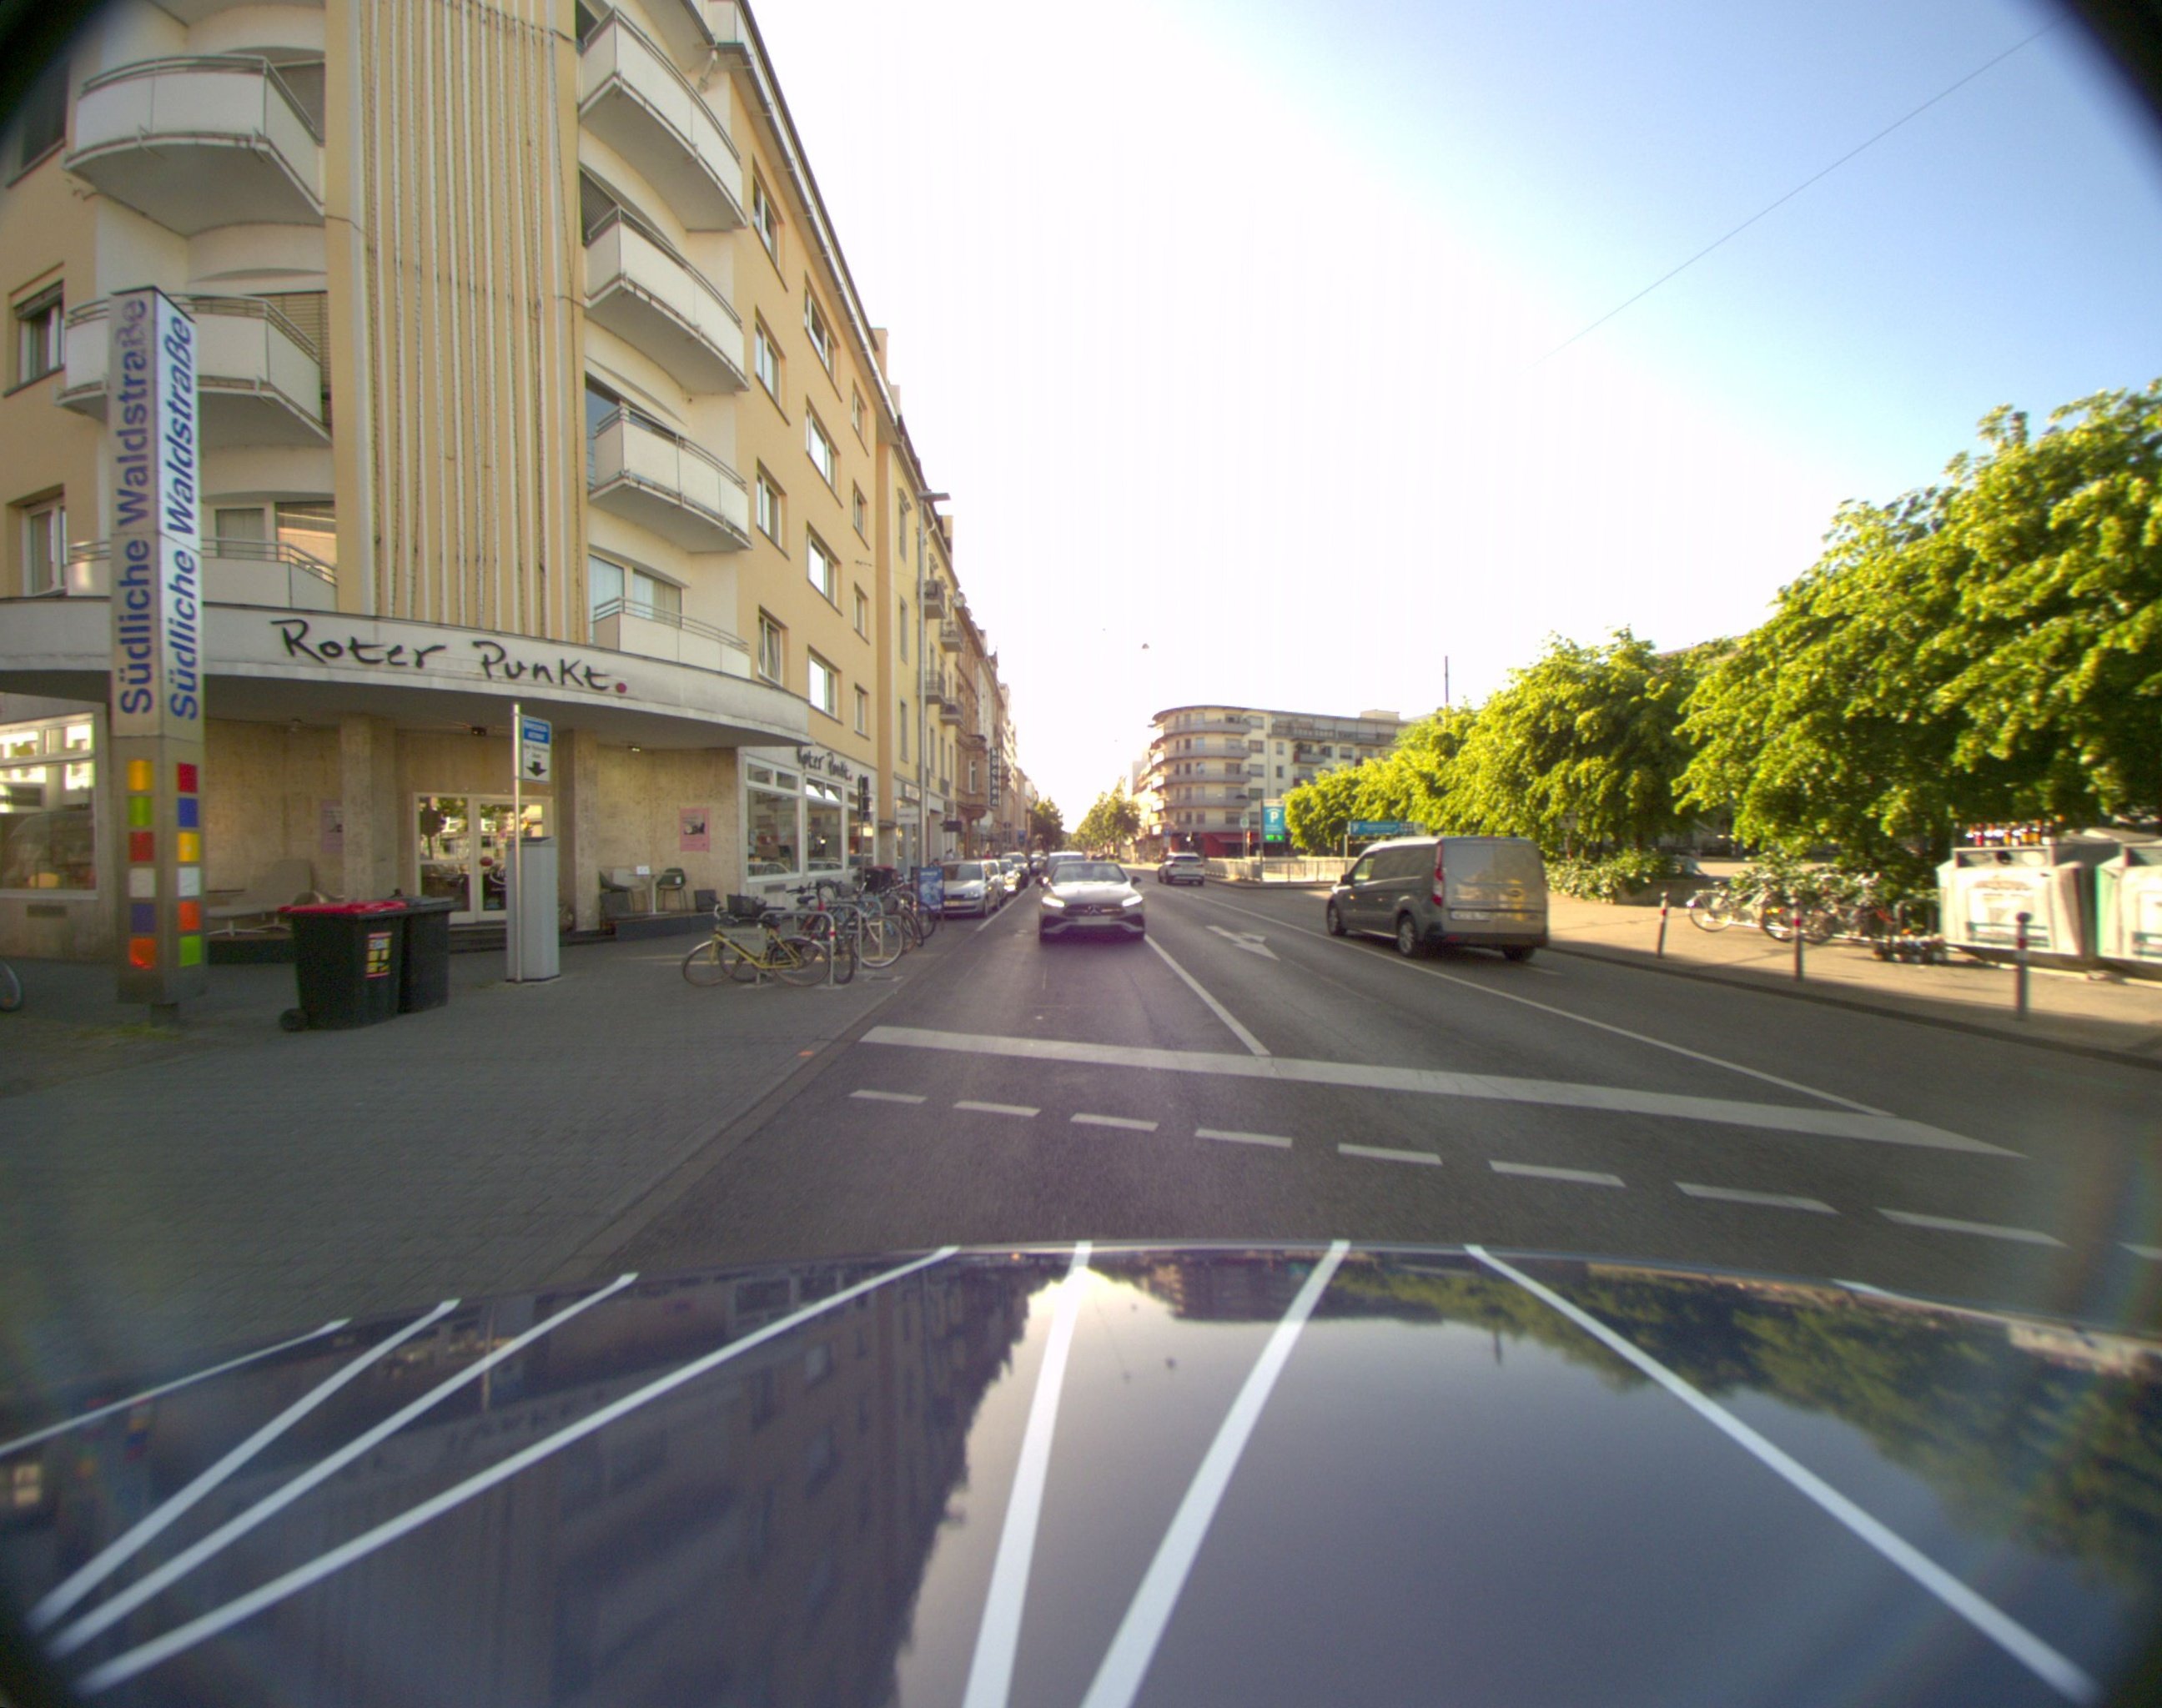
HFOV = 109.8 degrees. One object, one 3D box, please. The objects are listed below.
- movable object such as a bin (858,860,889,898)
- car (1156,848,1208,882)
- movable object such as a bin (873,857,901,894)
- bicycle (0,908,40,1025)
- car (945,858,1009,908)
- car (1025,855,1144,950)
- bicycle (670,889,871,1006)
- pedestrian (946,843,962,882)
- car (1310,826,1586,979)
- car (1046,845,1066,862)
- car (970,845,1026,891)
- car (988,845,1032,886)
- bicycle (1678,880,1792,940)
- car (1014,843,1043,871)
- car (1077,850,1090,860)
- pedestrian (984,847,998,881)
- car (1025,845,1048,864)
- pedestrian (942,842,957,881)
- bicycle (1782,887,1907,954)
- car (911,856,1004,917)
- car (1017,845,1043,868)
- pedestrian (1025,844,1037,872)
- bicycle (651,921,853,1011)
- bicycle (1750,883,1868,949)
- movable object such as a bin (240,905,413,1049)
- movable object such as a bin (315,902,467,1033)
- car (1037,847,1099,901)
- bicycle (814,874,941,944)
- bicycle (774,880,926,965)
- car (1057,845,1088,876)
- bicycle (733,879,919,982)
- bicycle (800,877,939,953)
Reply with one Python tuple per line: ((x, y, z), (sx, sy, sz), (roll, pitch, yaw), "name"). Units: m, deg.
((-6.471, 0.767, 23.780), (0.703, 1.154, 0.960), (0, 1, 0), "movable object such as a bin")
((4.997, 0.510, 38.210), (1.846, 1.538, 4.238), (2, 1, -2), "car")
((-6.516, 0.714, 25.546), (0.703, 1.232, 0.960), (0, 1, 0), "movable object such as a bin")
((-10.700, 1.090, 6.659), (0.560, 1.082, 1.751), (0, 1, 15), "bicycle")
((-3.260, 0.870, 24.502), (1.741, 1.417, 3.998), (0, 1, -3), "car")
((0.088, 0.796, 14.632), (1.910, 1.454, 4.363), (-2, 1, 1), "car")
((-3.483, 1.024, 8.715), (1.946, 1.205, 0.932), (0, 1, -6), "bicycle")
((-6.274, 0.395, 37.463), (0.694, 1.895, 0.906), (0, 1, -4), "pedestrian")
((5.578, 0.625, 12.434), (1.999, 1.936, 4.782), (3, 1, -2), "car")
((-2.532, -0.034, 78.718), (1.999, 1.718, 3.999), (0, 1, 0), "car")
((-3.220, 0.502, 30.222), (1.999, 1.725, 4.197), (0, 1, -3), "car")
((-3.463, 0.519, 36.598), (2.000, 1.867, 3.997), (0, 1, -7), "car")
((11.623, 0.984, 13.531), (1.529, 1.025, 0.364), (0, 1, 14), "bicycle")
((-3.862, 0.219, 56.108), (1.999, 2.002, 4.191), (0, 1, -2), "car")
((0.465, 0.163, 128.013), (1.999, 1.758, 3.999), (0, 0, -2), "car")
((-5.105, 0.551, 43.101), (0.694, 1.895, 0.906), (0, 1, -4), "pedestrian")
((-4.217, 0.048, 72.721), (1.999, 1.718, 3.999), (0, 1, 0), "car")
((-6.595, 0.360, 38.202), (0.673, 1.942, 0.614), (0, 1, -4), "pedestrian")
((11.672, 1.011, 11.627), (1.559, 0.996, 0.364), (0, 1, -1), "bicycle")
((-3.089, 0.770, 19.772), (1.693, 1.390, 4.000), (0, 1, 1), "car")
((-4.139, 0.168, 62.078), (1.999, 1.852, 3.999), (0, 1, -2), "car")
((-3.421, 0.284, 51.967), (0.610, 1.912, 0.714), (0, 1, 11), "pedestrian")
((-3.469, 1.173, 8.152), (1.848, 0.826, 0.741), (0, 1, -6), "bicycle")
((11.587, 0.981, 12.110), (1.549, 1.025, 0.364), (0, 1, -1), "bicycle")
((-6.368, 1.011, 6.450), (0.810, 1.106, 0.620), (-1, 1, -2), "movable object such as a bin")
((-6.406, 1.033, 7.089), (0.810, 1.106, 0.620), (-1, 1, -2), "movable object such as a bin")
((-0.423, 0.630, 26.478), (1.999, 1.718, 3.999), (0, 1, 0), "car")
((-3.549, 0.945, 13.350), (2.049, 1.174, 0.683), (0, 1, 0), "bicycle")
((-3.301, 0.974, 10.973), (1.962, 1.151, 0.755), (0, 1, 0), "bicycle")
((-0.547, 0.382, 51.269), (1.999, 2.002, 3.999), (0, 1, 0), "car")
((-3.199, 0.947, 9.707), (2.142, 1.237, 0.710), (0, 1, -5), "bicycle")
((-3.389, 0.974, 12.283), (2.026, 1.143, 0.715), (1, 1, 0), "bicycle")
